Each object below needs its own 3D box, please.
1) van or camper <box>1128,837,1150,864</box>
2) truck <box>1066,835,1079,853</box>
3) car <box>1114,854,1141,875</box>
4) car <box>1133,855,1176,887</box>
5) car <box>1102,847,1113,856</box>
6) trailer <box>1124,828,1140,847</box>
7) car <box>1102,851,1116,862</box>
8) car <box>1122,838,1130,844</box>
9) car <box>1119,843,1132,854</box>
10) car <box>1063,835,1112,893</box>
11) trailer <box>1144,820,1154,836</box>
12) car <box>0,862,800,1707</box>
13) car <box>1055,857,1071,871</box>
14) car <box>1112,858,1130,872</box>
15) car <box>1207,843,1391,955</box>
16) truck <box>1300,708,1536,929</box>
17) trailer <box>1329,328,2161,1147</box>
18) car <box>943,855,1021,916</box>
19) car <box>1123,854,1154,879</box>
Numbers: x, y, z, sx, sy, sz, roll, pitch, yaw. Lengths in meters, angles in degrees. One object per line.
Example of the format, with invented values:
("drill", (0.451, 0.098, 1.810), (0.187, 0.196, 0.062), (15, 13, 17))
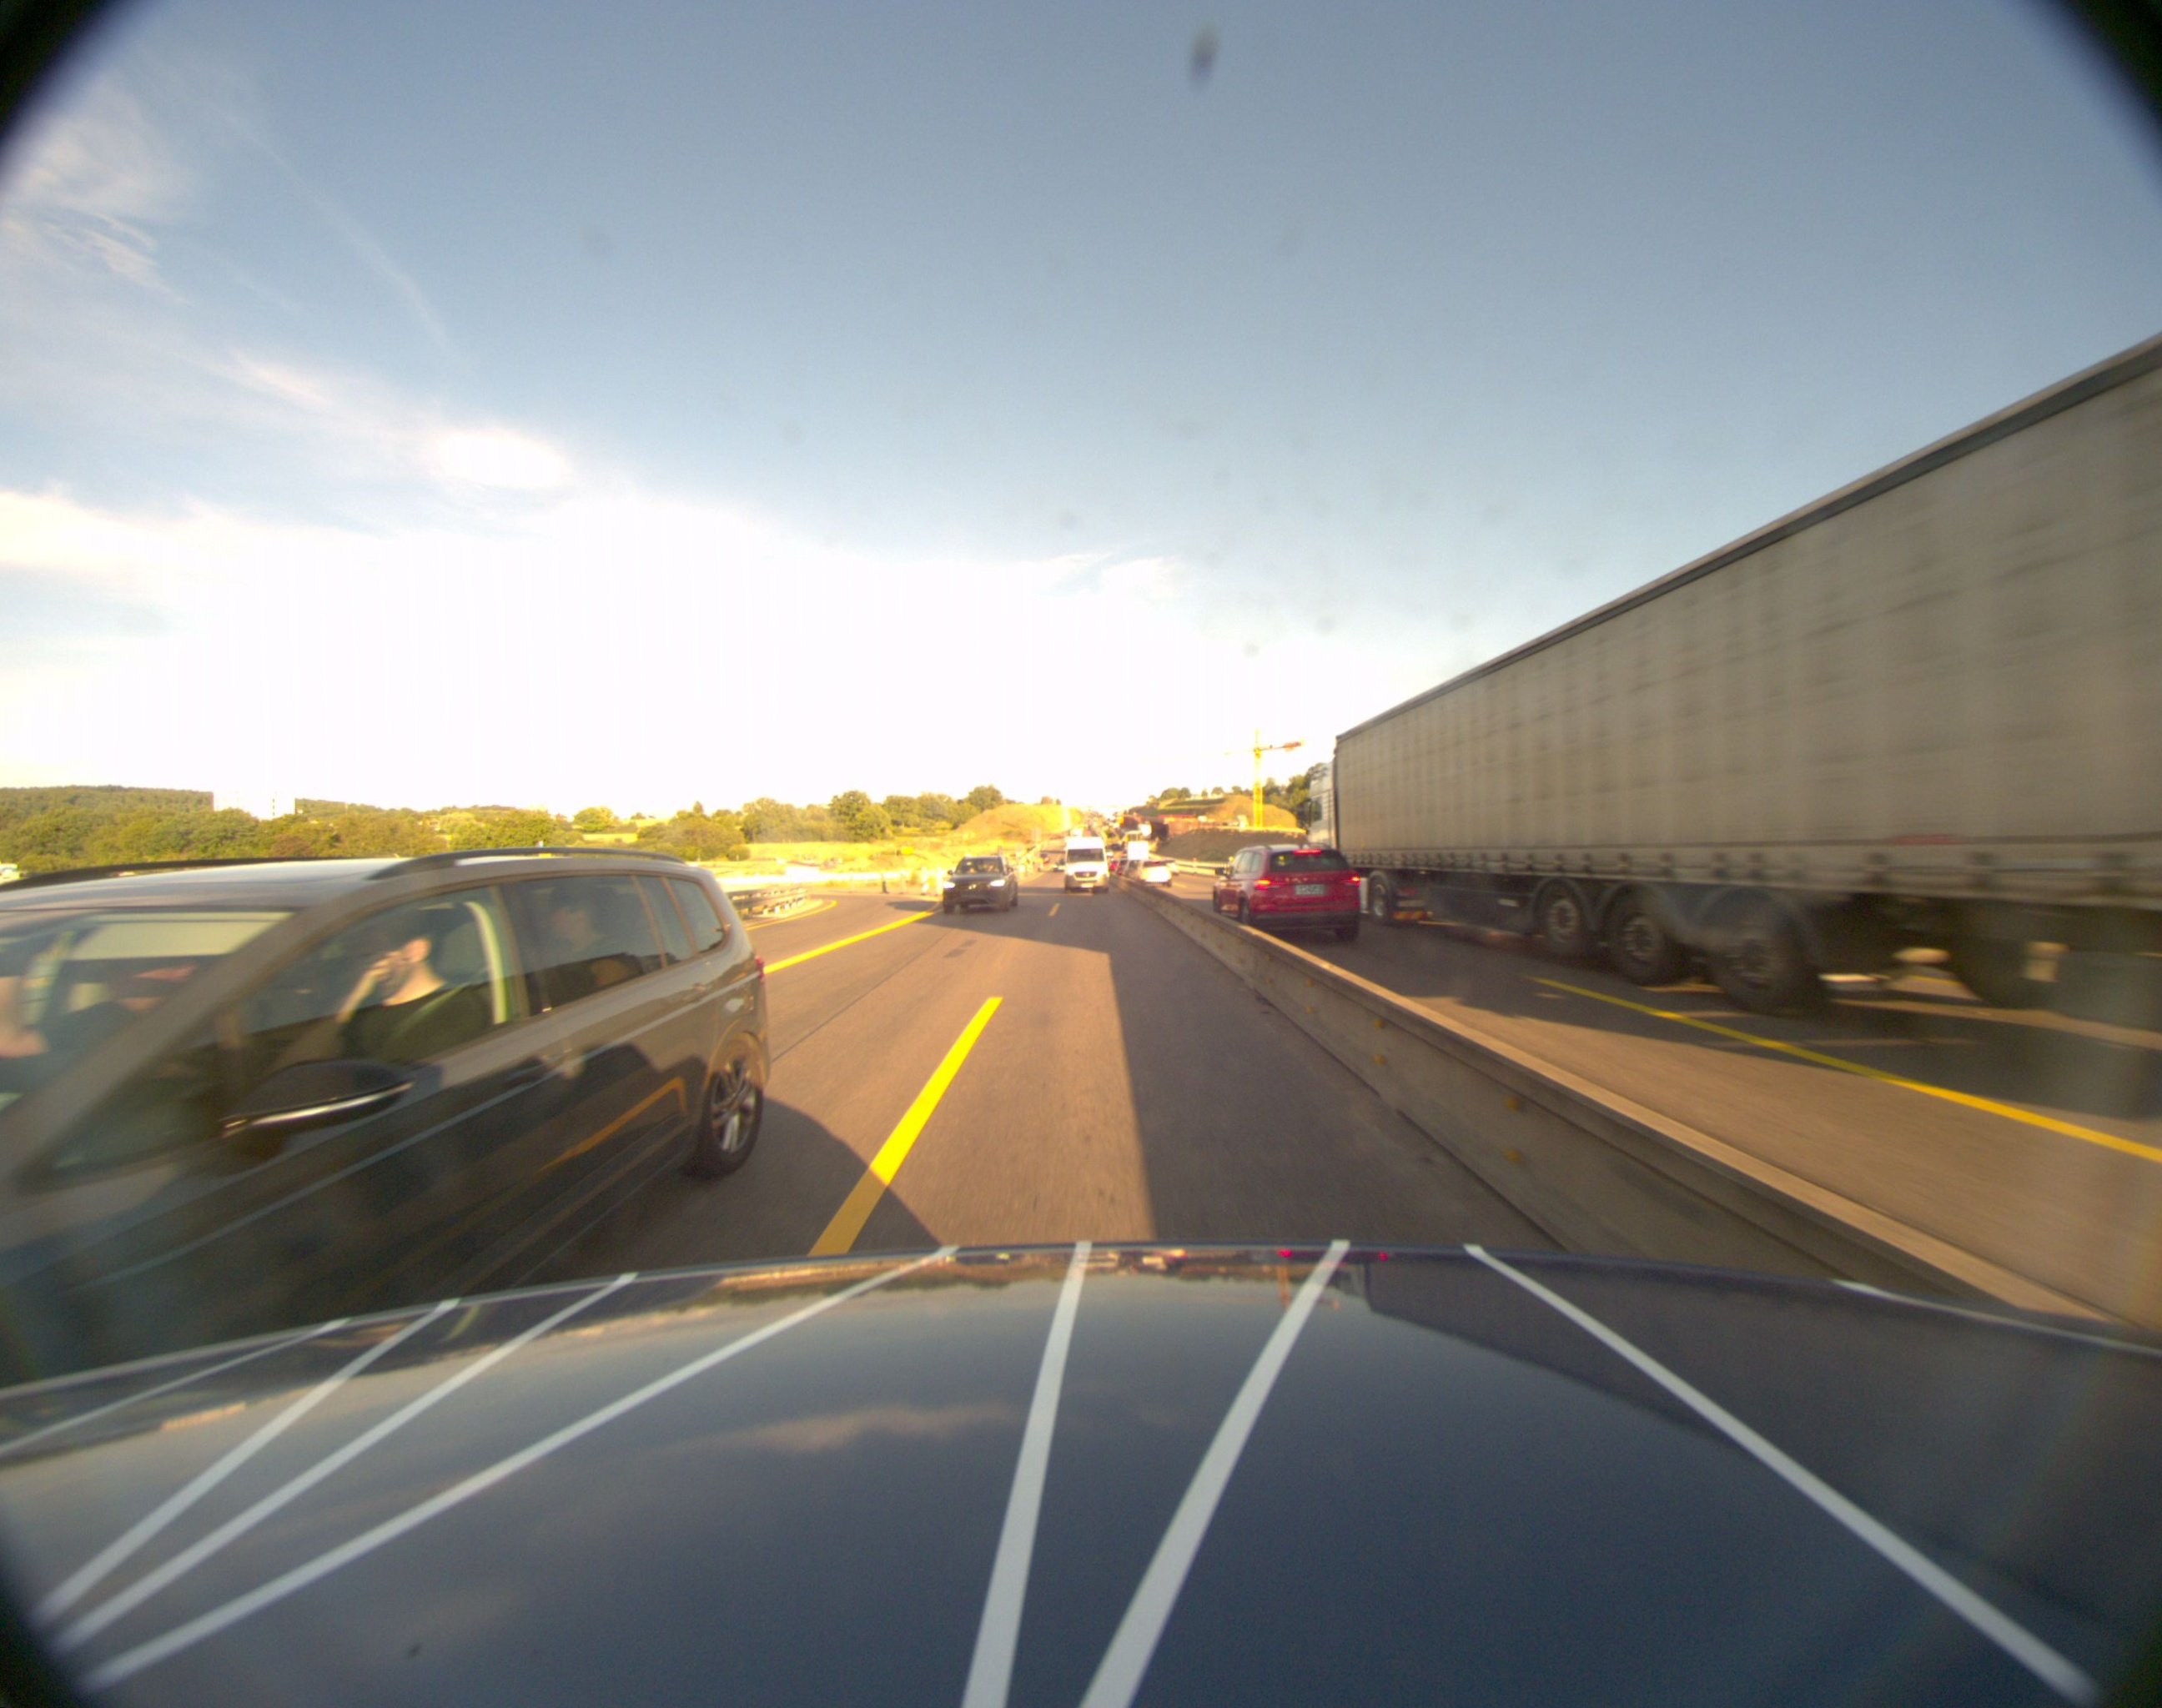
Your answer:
("van or camper", (7.825, -0.419, 103.382), (2.464, 3.478, 7.413), (-2, 0, 0))
("truck", (-1.743, -2.218, 164.098), (2.263, 3.705, 6.572), (-4, 1, 2))
("car", (3.914, 0.864, 64.428), (1.832, 1.630, 4.529), (-2, 0, -1))
("car", (3.830, 0.865, 40.400), (1.771, 1.526, 3.999), (-2, 1, -1))
("car", (5.048, -0.474, 142.914), (1.866, 1.424, 4.154), (-2, 1, 0))
("trailer", (11.241, -3.525, 168.704), (2.780, 4.008, 13.681), (-1, 1, 1))
("car", (4.194, 0.392, 115.426), (1.820, 1.454, 4.705), (-5, 0, 0))
("car", (11.034, -3.301, 186.845), (1.719, 1.402, 4.327), (-1, 2, 5))
("car", (7.464, -0.923, 127.883), (1.998, 1.754, 4.440), (-2, 1, 1))
("car", (0.348, 0.443, 36.255), (2.110, 2.518, 5.220), (-2, 0, 1))
("trailer", (19.332, -7.467, 216.256), (2.536, 4.191, 13.932), (-2, 3, 5))
("car", (-2.624, 0.936, 2.271), (1.817, 1.606, 4.525), (-3, 1, 0))
("car", (-2.162, 1.188, 91.272), (1.791, 1.477, 4.000), (-2, 0, 0))
("car", (4.607, 1.276, 87.523), (1.820, 1.454, 4.705), (-2, 0, 0))
("car", (3.597, 0.641, 13.499), (1.998, 1.610, 4.605), (-1, 1, 1))
("truck", (7.054, -0.670, 16.884), (2.821, 4.025, 5.672), (-1, 1, 2))
("trailer", (6.887, -0.638, 10.145), (2.821, 4.027, 14.021), (-1, 0, 1))
("car", (-3.061, 0.921, 24.484), (1.902, 1.703, 4.887), (-2, 0, -1))
("car", (3.836, 0.810, 51.206), (1.747, 1.574, 4.705), (-1, 1, 0))
